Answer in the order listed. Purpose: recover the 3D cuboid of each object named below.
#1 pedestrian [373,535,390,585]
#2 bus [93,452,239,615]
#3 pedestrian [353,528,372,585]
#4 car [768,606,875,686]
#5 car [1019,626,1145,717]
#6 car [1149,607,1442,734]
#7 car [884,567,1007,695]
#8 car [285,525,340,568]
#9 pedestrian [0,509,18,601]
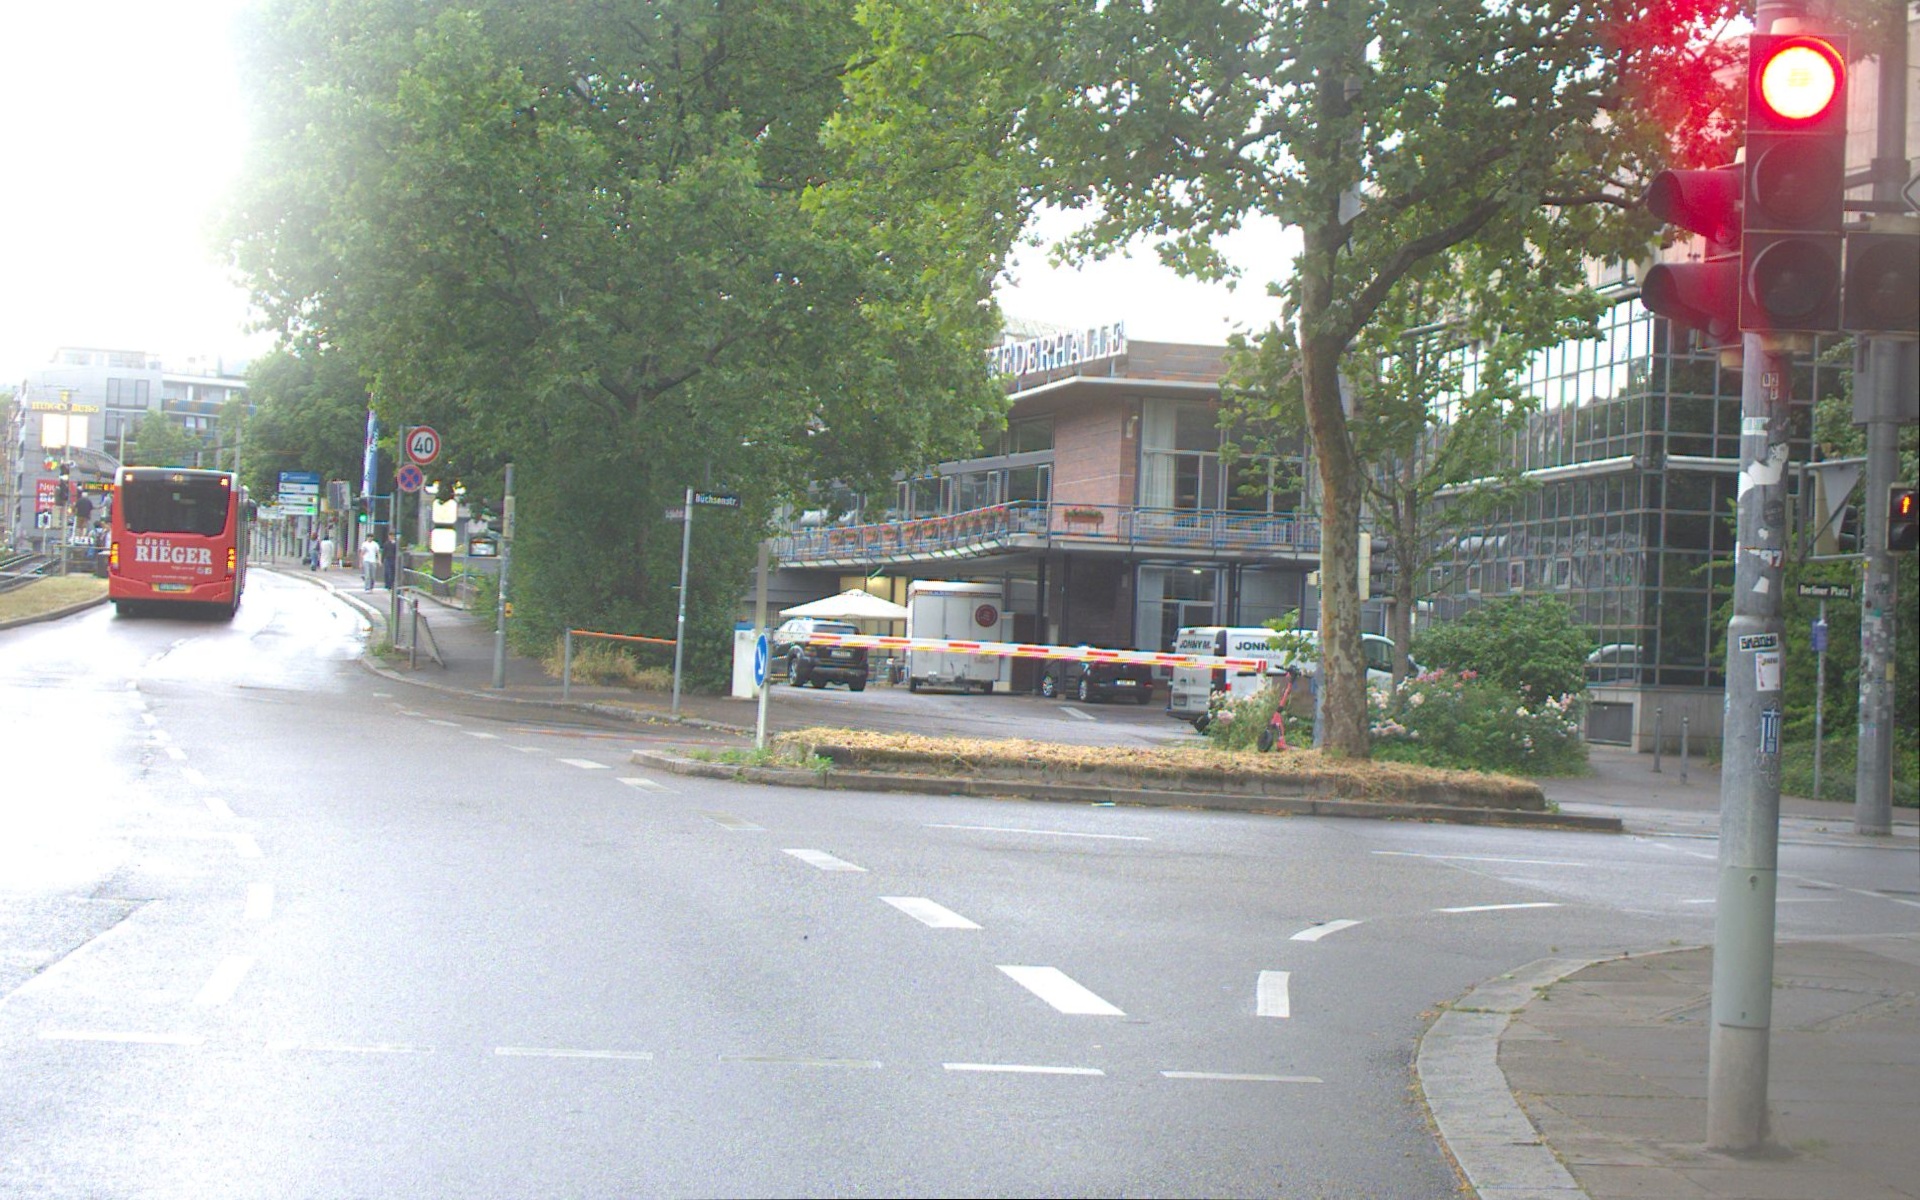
[{"bbox_3d":[-17.642,-1.219,104.871,0.371,1.520,0.344,3,0,-1],"label":"pedestrian"},{"bbox_3d":[-17.055,-1.363,73.920,2.654,3.100,9.188,4,-1,-13],"label":"bus"},{"bbox_3d":[-18.197,-1.320,104.701,0.371,1.702,0.644,3,0,-1],"label":"pedestrian"},{"bbox_3d":[-3.571,1.152,87.931,1.993,1.853,4.001,4,-1,-12],"label":"car"},{"bbox_3d":[2.970,1.739,84.450,1.993,2.007,4.001,4,-1,-13],"label":"car"},{"bbox_3d":[6.056,1.272,62.039,4.745,1.937,2.001,4,-1,-22],"label":"car"},{"bbox_3d":[-0.422,0.797,90.553,2.544,3.123,5.032,4,-1,-6],"label":"car"},{"bbox_3d":[-28.200,-2.316,149.597,1.993,1.678,4.001,4,-1,-14],"label":"car"},{"bbox_3d":[-17.495,-0.831,62.216,0.737,1.634,0.871,4,-1,-15],"label":"pedestrian"}]
